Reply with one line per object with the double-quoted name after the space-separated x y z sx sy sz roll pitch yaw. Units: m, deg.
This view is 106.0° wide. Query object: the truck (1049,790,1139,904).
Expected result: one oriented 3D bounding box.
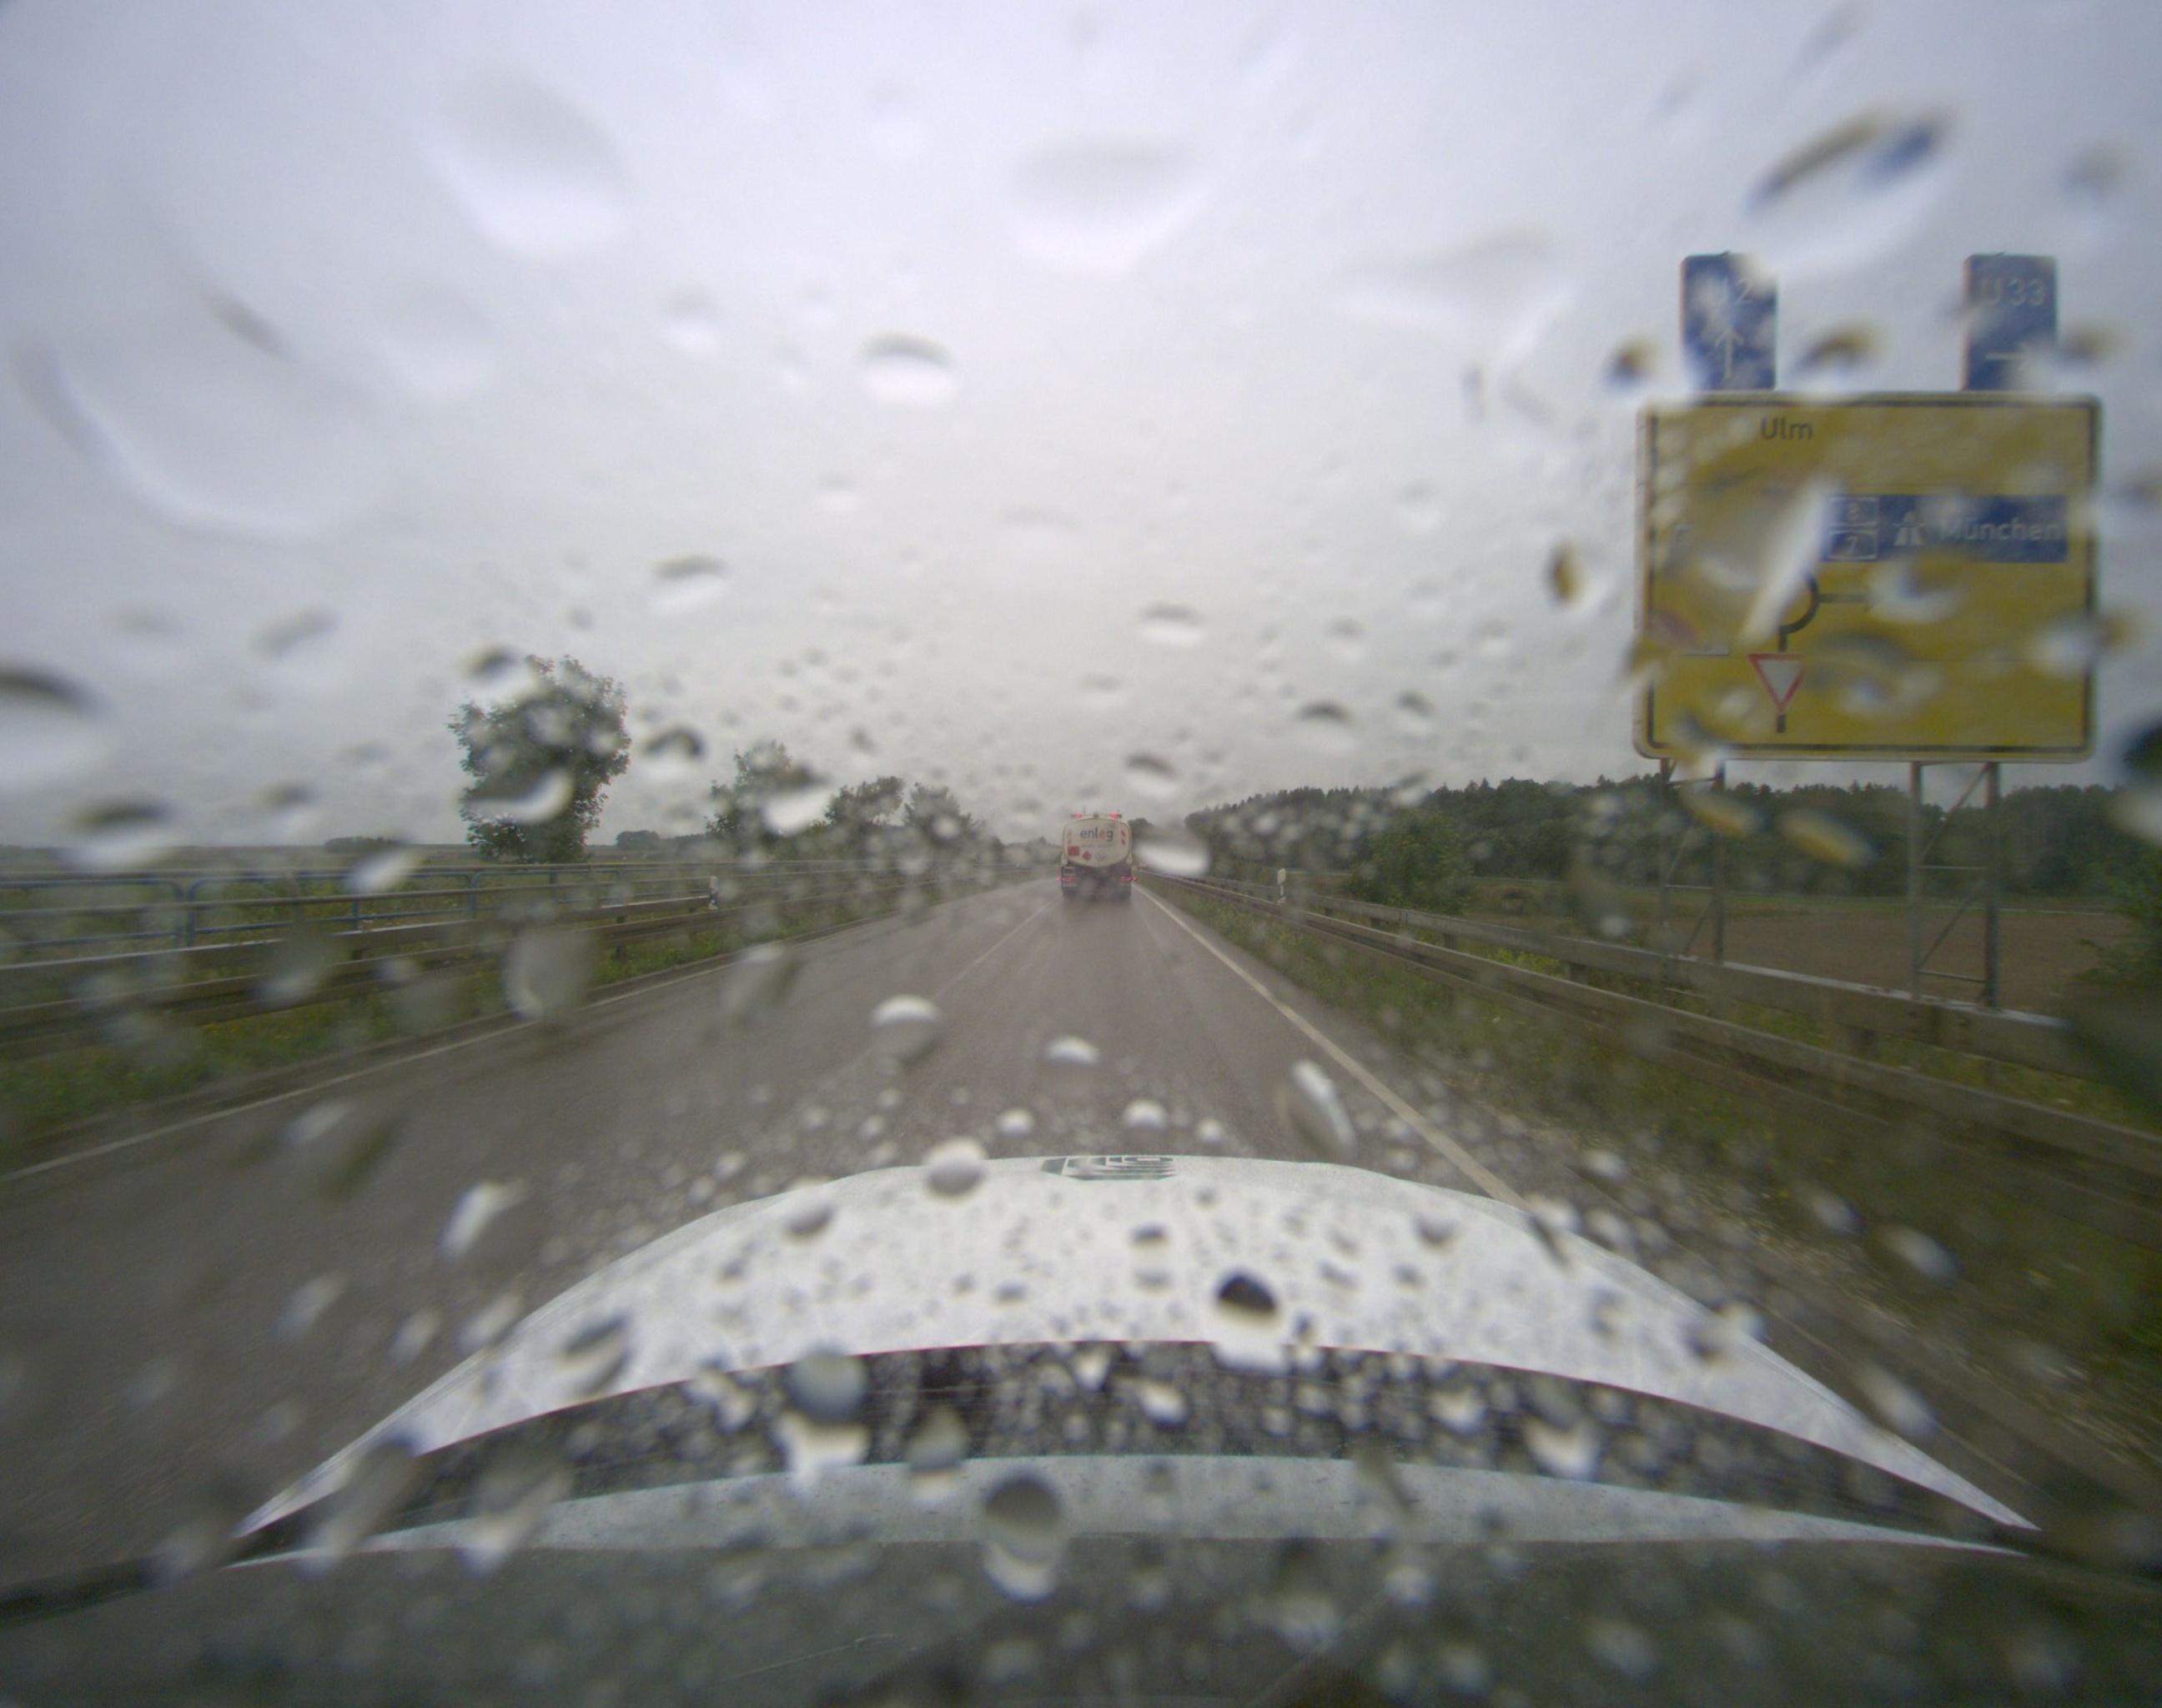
0.590 -0.209 32.246 3.028 3.852 8.825 -1 -1 2 "truck"
